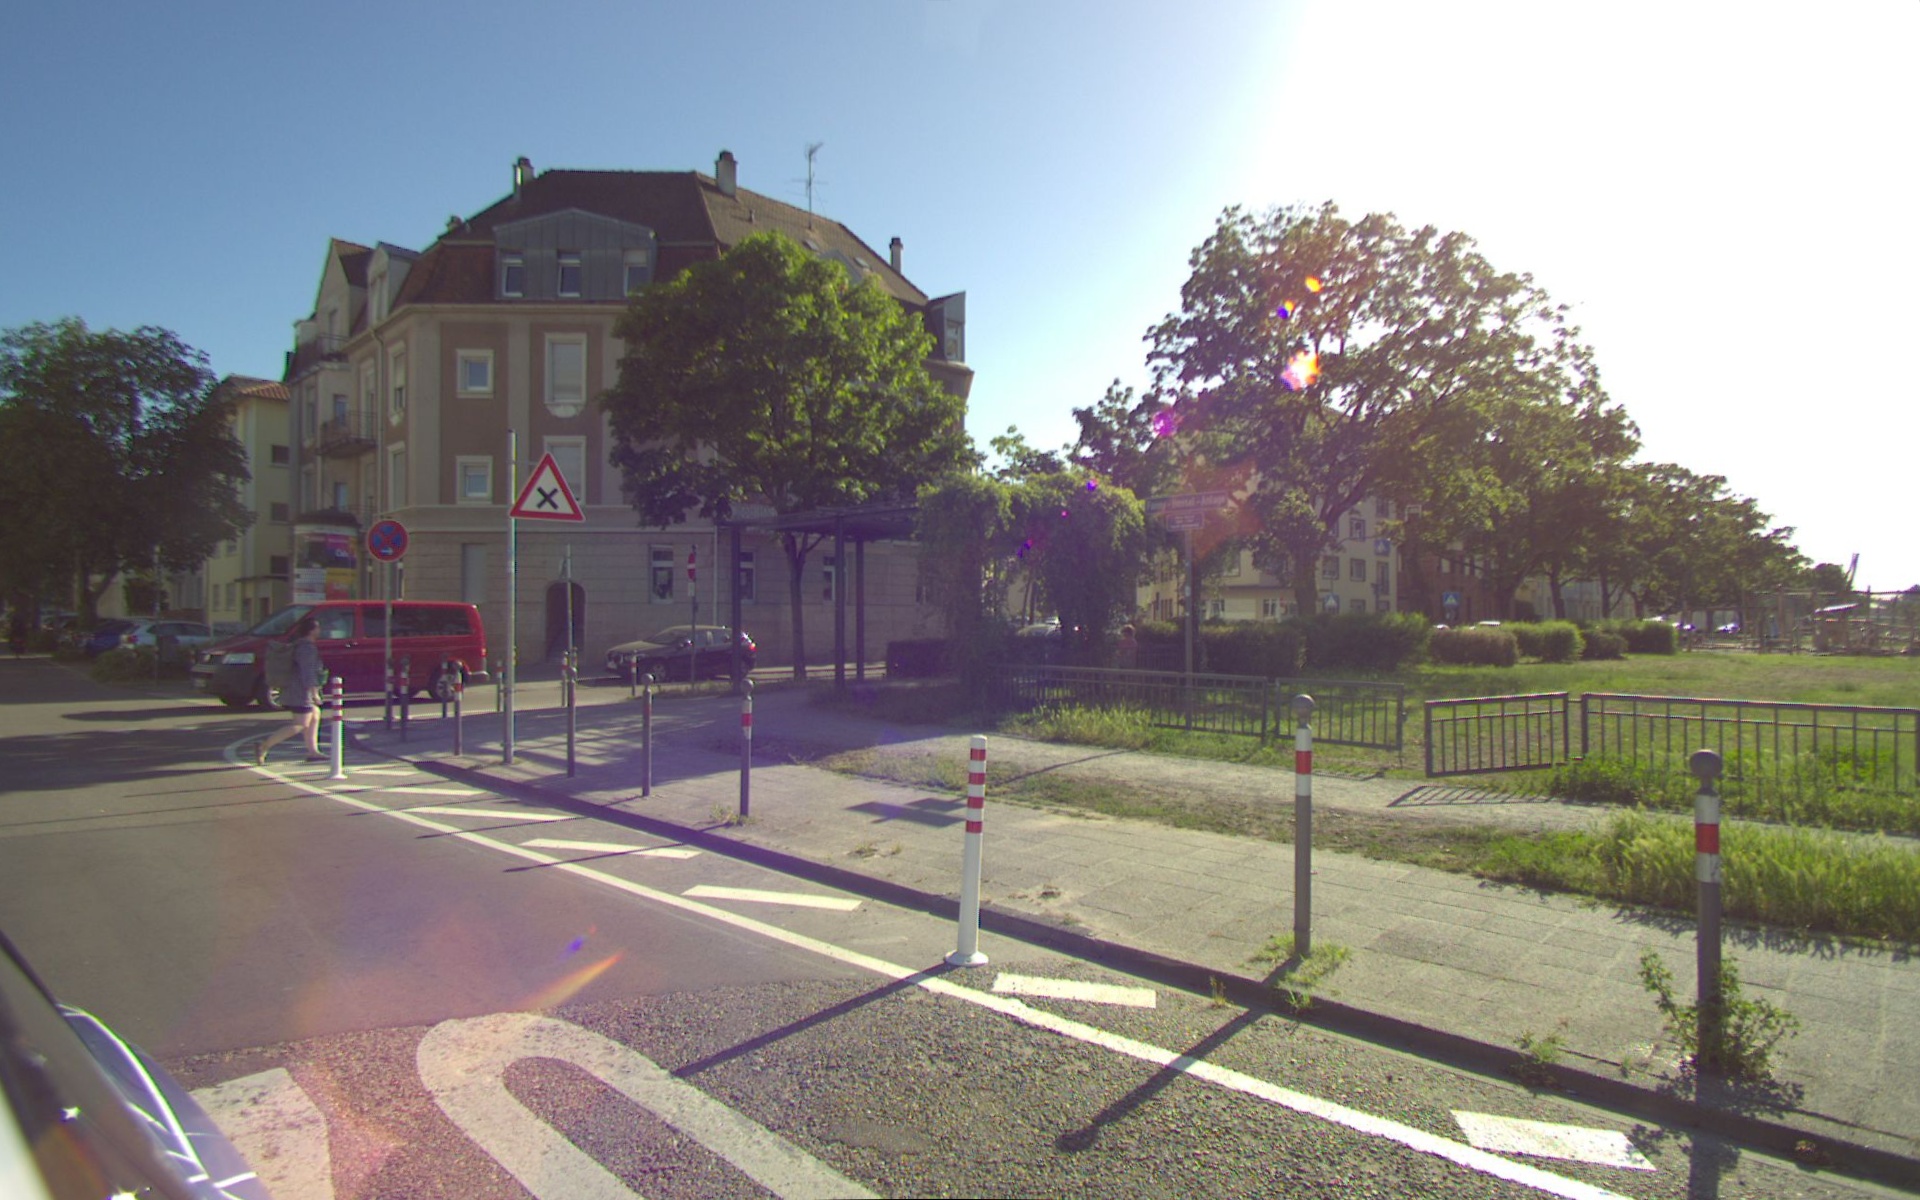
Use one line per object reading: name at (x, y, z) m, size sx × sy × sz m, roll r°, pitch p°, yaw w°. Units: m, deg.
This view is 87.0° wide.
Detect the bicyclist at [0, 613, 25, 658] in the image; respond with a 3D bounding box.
bicyclist at (-35.020, 1.318, 37.410) m, size 0.635 × 1.632 × 0.637 m, roll 2°, pitch -2°, yaw -45°

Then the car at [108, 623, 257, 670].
car at (-26.194, 1.525, 34.176) m, size 1.691 × 1.455 × 3.739 m, roll -1°, pitch -1°, yaw 41°

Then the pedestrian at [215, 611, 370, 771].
pedestrian at (-7.496, 0.999, 11.399) m, size 0.909 × 1.687 × 1.080 m, roll -1°, pitch -4°, yaw 27°

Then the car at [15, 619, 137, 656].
car at (-39.027, 1.630, 44.740) m, size 1.686 × 1.506 × 3.751 m, roll -1°, pitch -1°, yaw 31°

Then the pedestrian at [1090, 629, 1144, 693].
pedestrian at (2.919, 1.121, 18.825) m, size 0.862 × 1.147 × 0.599 m, roll 2°, pitch -2°, yaw -45°

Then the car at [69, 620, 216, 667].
car at (-28.308, 1.466, 35.125) m, size 1.691 × 1.506 × 3.739 m, roll -1°, pitch -1°, yaw 41°

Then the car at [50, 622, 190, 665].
car at (-31.844, 1.618, 38.463) m, size 1.686 × 1.506 × 3.751 m, roll -1°, pitch -1°, yaw 31°

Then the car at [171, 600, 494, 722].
car at (-11.666, 1.046, 19.183) m, size 1.893 × 1.975 × 4.827 m, roll 1°, pitch -1°, yaw 36°

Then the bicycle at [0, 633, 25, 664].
bicycle at (-35.044, 1.786, 37.419) m, size 0.635 × 1.117 × 2.066 m, roll 2°, pitch -2°, yaw -45°

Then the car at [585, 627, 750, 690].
car at (-7.953, 1.540, 27.768) m, size 1.867 × 1.494 × 3.960 m, roll 3°, pitch 1°, yaw 41°

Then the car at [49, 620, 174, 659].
car at (-36.038, 1.643, 43.052) m, size 1.686 × 1.506 × 3.751 m, roll -1°, pitch -1°, yaw 31°

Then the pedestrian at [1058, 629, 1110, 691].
pedestrian at (2.363, 1.135, 19.334) m, size 0.833 × 1.158 × 0.599 m, roll 2°, pitch -2°, yaw -45°

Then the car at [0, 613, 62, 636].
car at (-72.871, 1.881, 79.358) m, size 1.692 × 1.716 × 3.481 m, roll -1°, pitch -1°, yaw 42°

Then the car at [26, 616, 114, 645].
car at (-49.728, 1.668, 56.592) m, size 1.690 × 1.506 × 3.484 m, roll -1°, pitch -1°, yaw 39°

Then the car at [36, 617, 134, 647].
car at (-46.450, 1.672, 53.783) m, size 1.690 × 1.506 × 3.742 m, roll -1°, pitch -1°, yaw 39°
